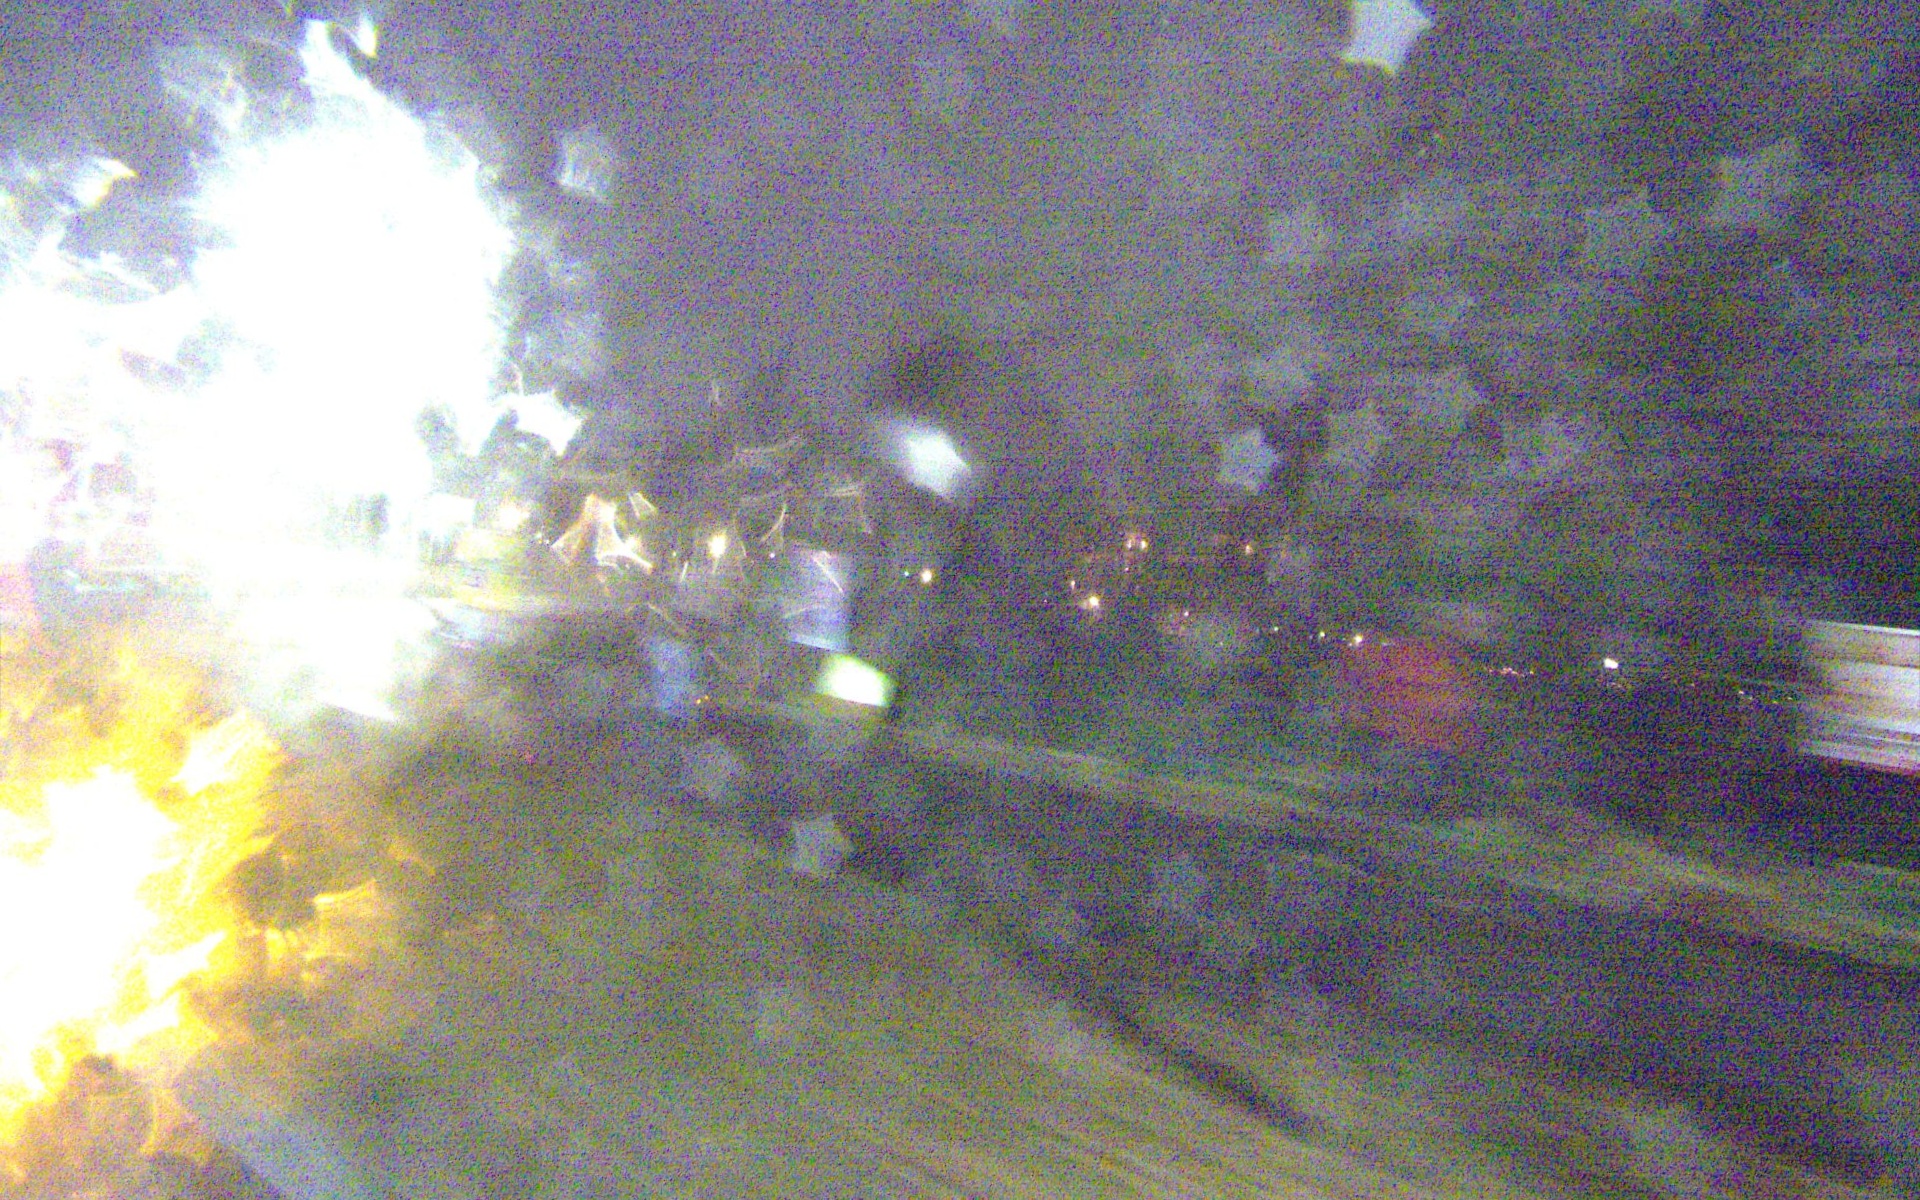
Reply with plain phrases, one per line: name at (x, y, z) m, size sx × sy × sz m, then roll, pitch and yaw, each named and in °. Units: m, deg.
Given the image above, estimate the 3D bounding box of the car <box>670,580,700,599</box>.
car at (-27.014, -1.030, 98.689) m, size 1.704 × 1.554 × 3.880 m, roll 8°, pitch -1°, yaw -31°

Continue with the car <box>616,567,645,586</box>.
car at (-31.486, -2.262, 96.098) m, size 1.704 × 1.554 × 3.880 m, roll 8°, pitch -1°, yaw -31°

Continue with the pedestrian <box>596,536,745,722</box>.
pedestrian at (-2.547, 0.260, 8.881) m, size 0.822 × 1.503 × 0.727 m, roll 7°, pitch 0°, yaw 30°

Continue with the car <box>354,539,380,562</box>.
car at (-49.951, -4.163, 84.762) m, size 1.704 × 1.513 × 3.884 m, roll 7°, pitch -4°, yaw -31°

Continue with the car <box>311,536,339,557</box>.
car at (-52.626, -4.436, 83.365) m, size 1.704 × 1.514 × 3.880 m, roll 8°, pitch -1°, yaw -31°

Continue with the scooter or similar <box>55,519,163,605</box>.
scooter or similar at (-12.357, -0.546, 14.630) m, size 1.093 × 1.111 × 0.315 m, roll 6°, pitch 0°, yaw -32°

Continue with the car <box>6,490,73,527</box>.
car at (-49.735, -4.955, 54.342) m, size 3.849 × 1.514 × 1.718 m, roll 7°, pitch -1°, yaw 34°
